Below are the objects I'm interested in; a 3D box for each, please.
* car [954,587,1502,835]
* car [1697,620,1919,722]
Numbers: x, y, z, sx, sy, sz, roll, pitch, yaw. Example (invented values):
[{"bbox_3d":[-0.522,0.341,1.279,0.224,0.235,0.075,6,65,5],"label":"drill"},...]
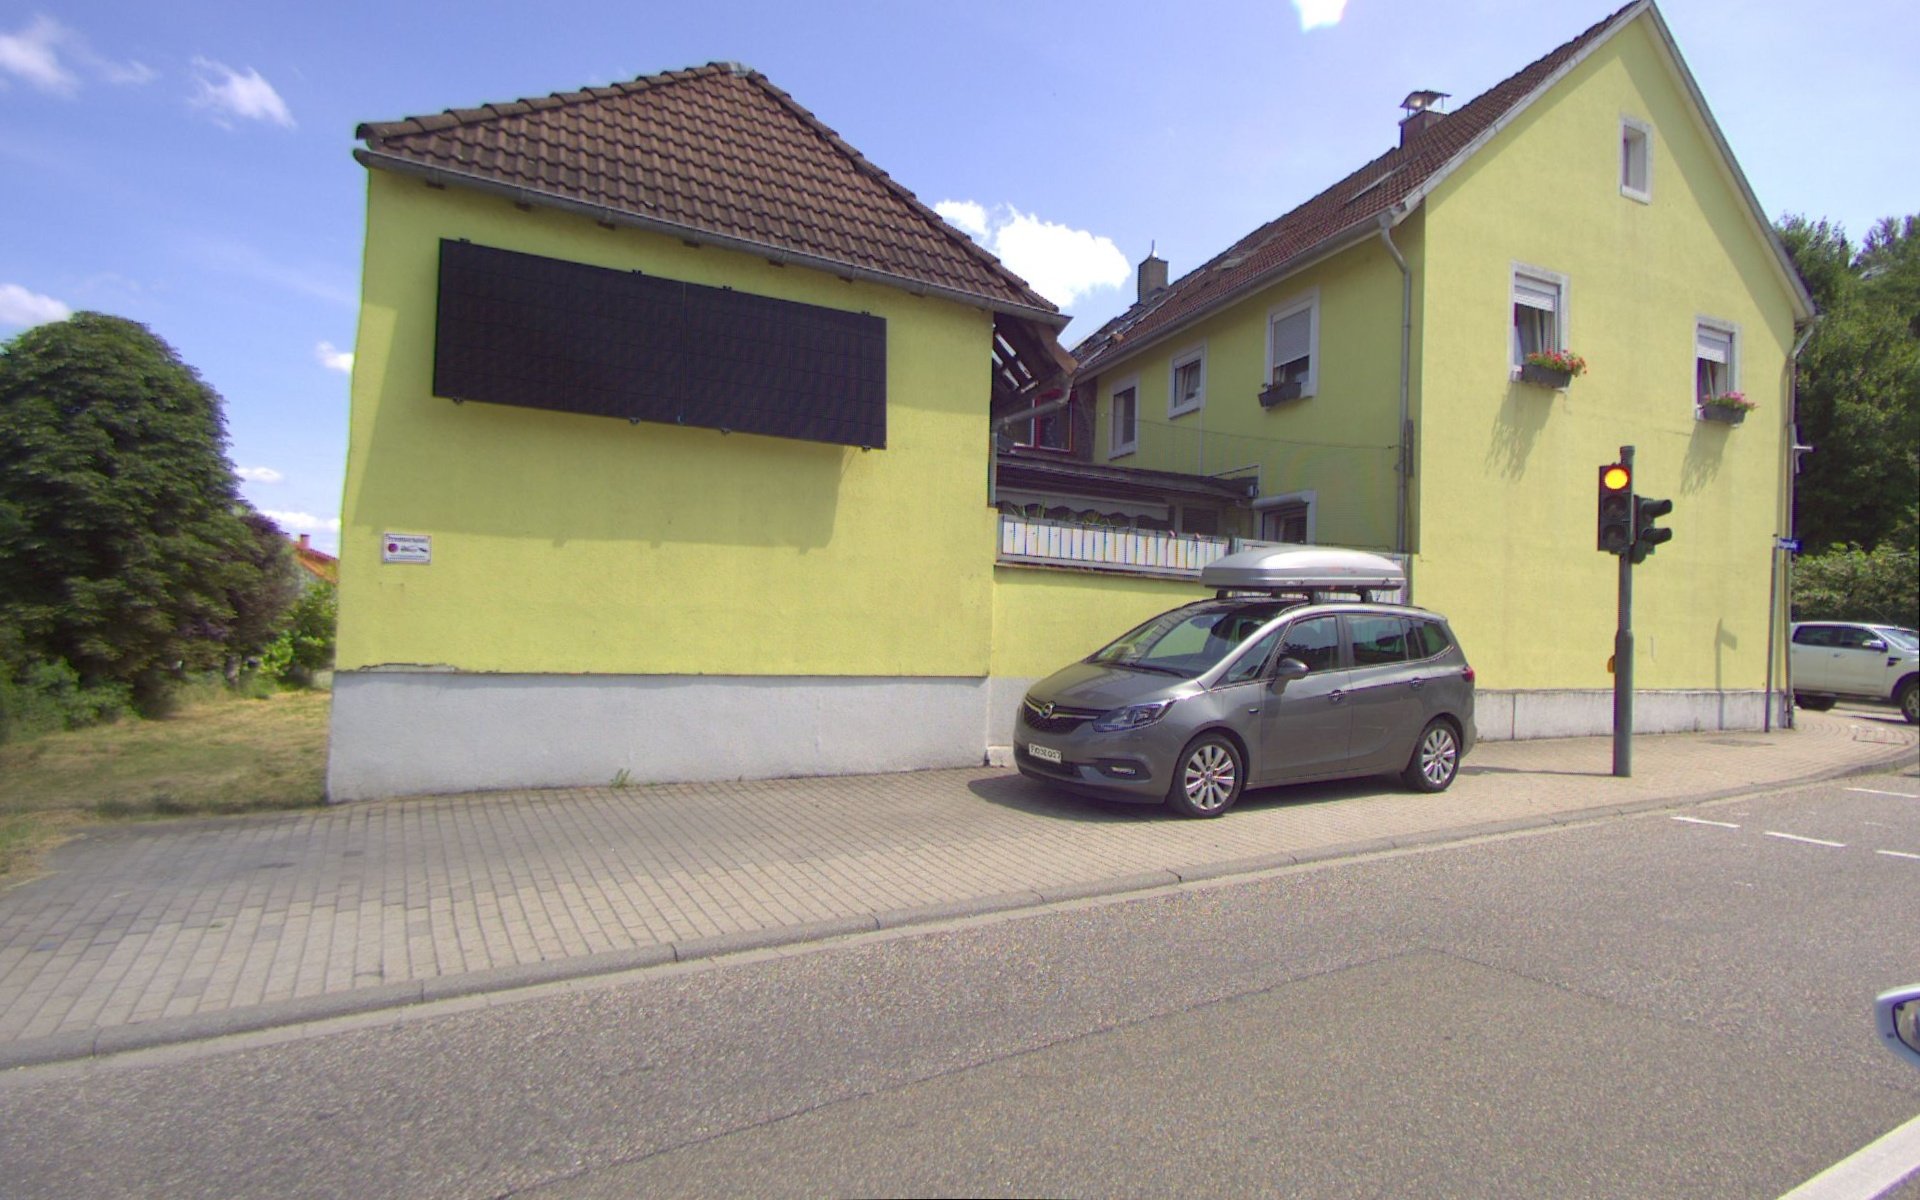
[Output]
[{"bbox_3d":[2.428,0.800,8.823,4.575,1.657,1.984,2,1,-30],"label":"car"},{"bbox_3d":[17.524,1.321,19.533,1.943,1.799,5.306,1,-2,-10],"label":"car"}]
